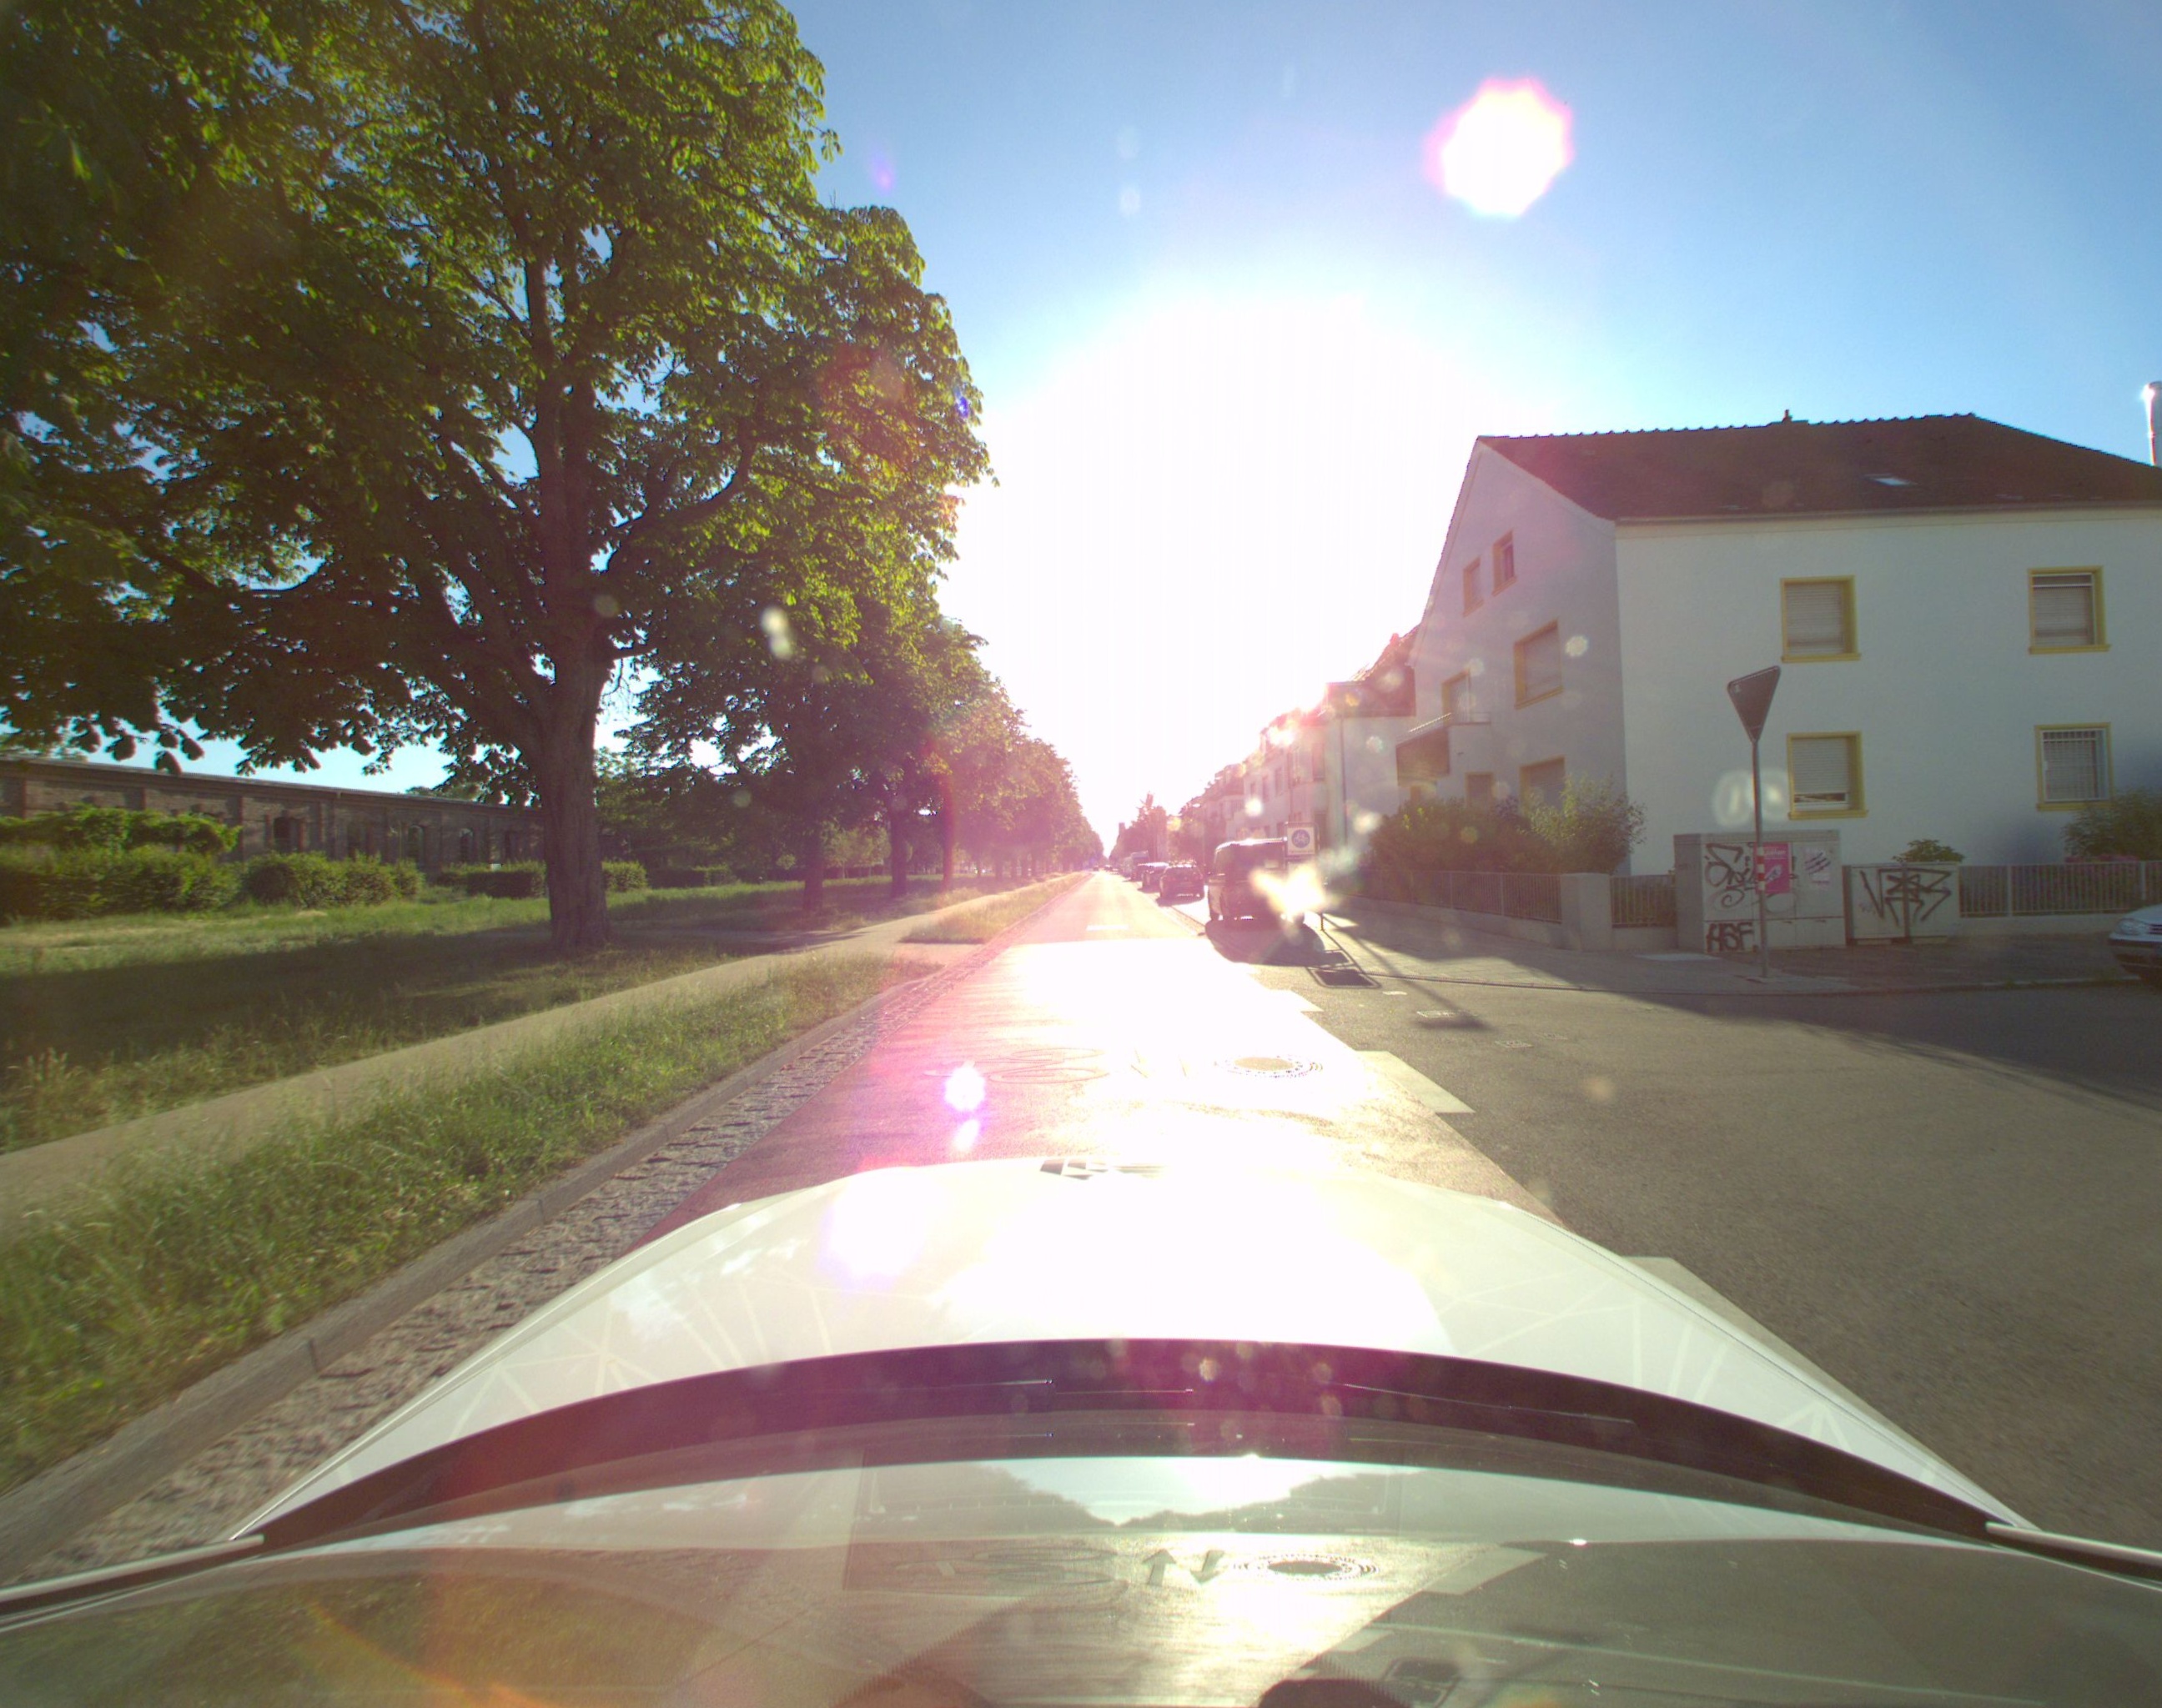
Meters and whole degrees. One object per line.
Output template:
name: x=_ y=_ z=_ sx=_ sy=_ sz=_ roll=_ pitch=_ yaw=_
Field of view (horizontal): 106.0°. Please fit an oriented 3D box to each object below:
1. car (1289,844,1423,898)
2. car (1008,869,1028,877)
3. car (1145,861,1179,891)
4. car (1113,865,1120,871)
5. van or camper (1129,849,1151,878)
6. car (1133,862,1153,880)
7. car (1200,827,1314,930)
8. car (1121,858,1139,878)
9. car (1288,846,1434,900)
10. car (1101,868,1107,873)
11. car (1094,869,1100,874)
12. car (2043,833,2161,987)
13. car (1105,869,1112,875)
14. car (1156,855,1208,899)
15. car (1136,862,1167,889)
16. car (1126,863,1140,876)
car: x=9.942 y=0.616 z=29.687 sx=4.206 sy=1.726 sz=1.852 roll=-2 pitch=-2 yaw=-2
car: x=-14.295 y=4.221 z=185.079 sx=4.342 sy=1.764 sz=1.995 roll=0 pitch=-2 yaw=-7
car: x=4.772 y=1.295 z=48.425 sx=1.711 sy=1.574 sz=4.213 roll=-4 pitch=-1 yaw=3
car: x=8.726 y=3.444 z=199.506 sx=1.643 sy=1.530 sz=3.853 roll=-3 pitch=-1 yaw=3
van or camper: x=5.900 y=0.977 z=81.644 sx=1.936 sy=2.778 sz=5.941 roll=0 pitch=-2 yaw=2
car: x=5.676 y=1.563 z=75.206 sx=1.657 sy=1.593 sz=4.087 roll=0 pitch=-1 yaw=2
car: x=4.217 y=0.568 z=20.294 sx=1.898 sy=2.132 sz=4.817 roll=-4 pitch=-1 yaw=3
car: x=6.728 y=1.956 z=111.778 sx=2.120 sy=2.533 sz=5.187 roll=-3 pitch=-1 yaw=0
car: x=9.255 y=0.627 z=27.116 sx=4.206 sy=1.726 sz=1.852 roll=0 pitch=-2 yaw=-2
car: x=6.943 y=4.964 z=248.293 sx=1.856 sy=1.597 sz=3.870 roll=0 pitch=-2 yaw=1
car: x=4.486 y=4.964 z=230.146 sx=1.856 sy=1.597 sz=3.870 roll=0 pitch=-2 yaw=1
car: x=12.347 y=0.525 z=7.794 sx=4.058 sy=1.470 sz=1.894 roll=0 pitch=-2 yaw=-1
car: x=7.337 y=4.767 z=217.881 sx=1.856 sy=1.597 sz=3.894 roll=-1 pitch=-1 yaw=1
car: x=4.478 y=1.003 z=36.626 sx=1.787 sy=1.771 sz=4.474 roll=-4 pitch=-1 yaw=2
car: x=4.649 y=1.379 z=54.251 sx=1.825 sy=1.685 sz=4.417 roll=0 pitch=-1 yaw=2
car: x=6.762 y=1.990 z=105.775 sx=1.643 sy=1.530 sz=3.853 roll=-3 pitch=-1 yaw=3
